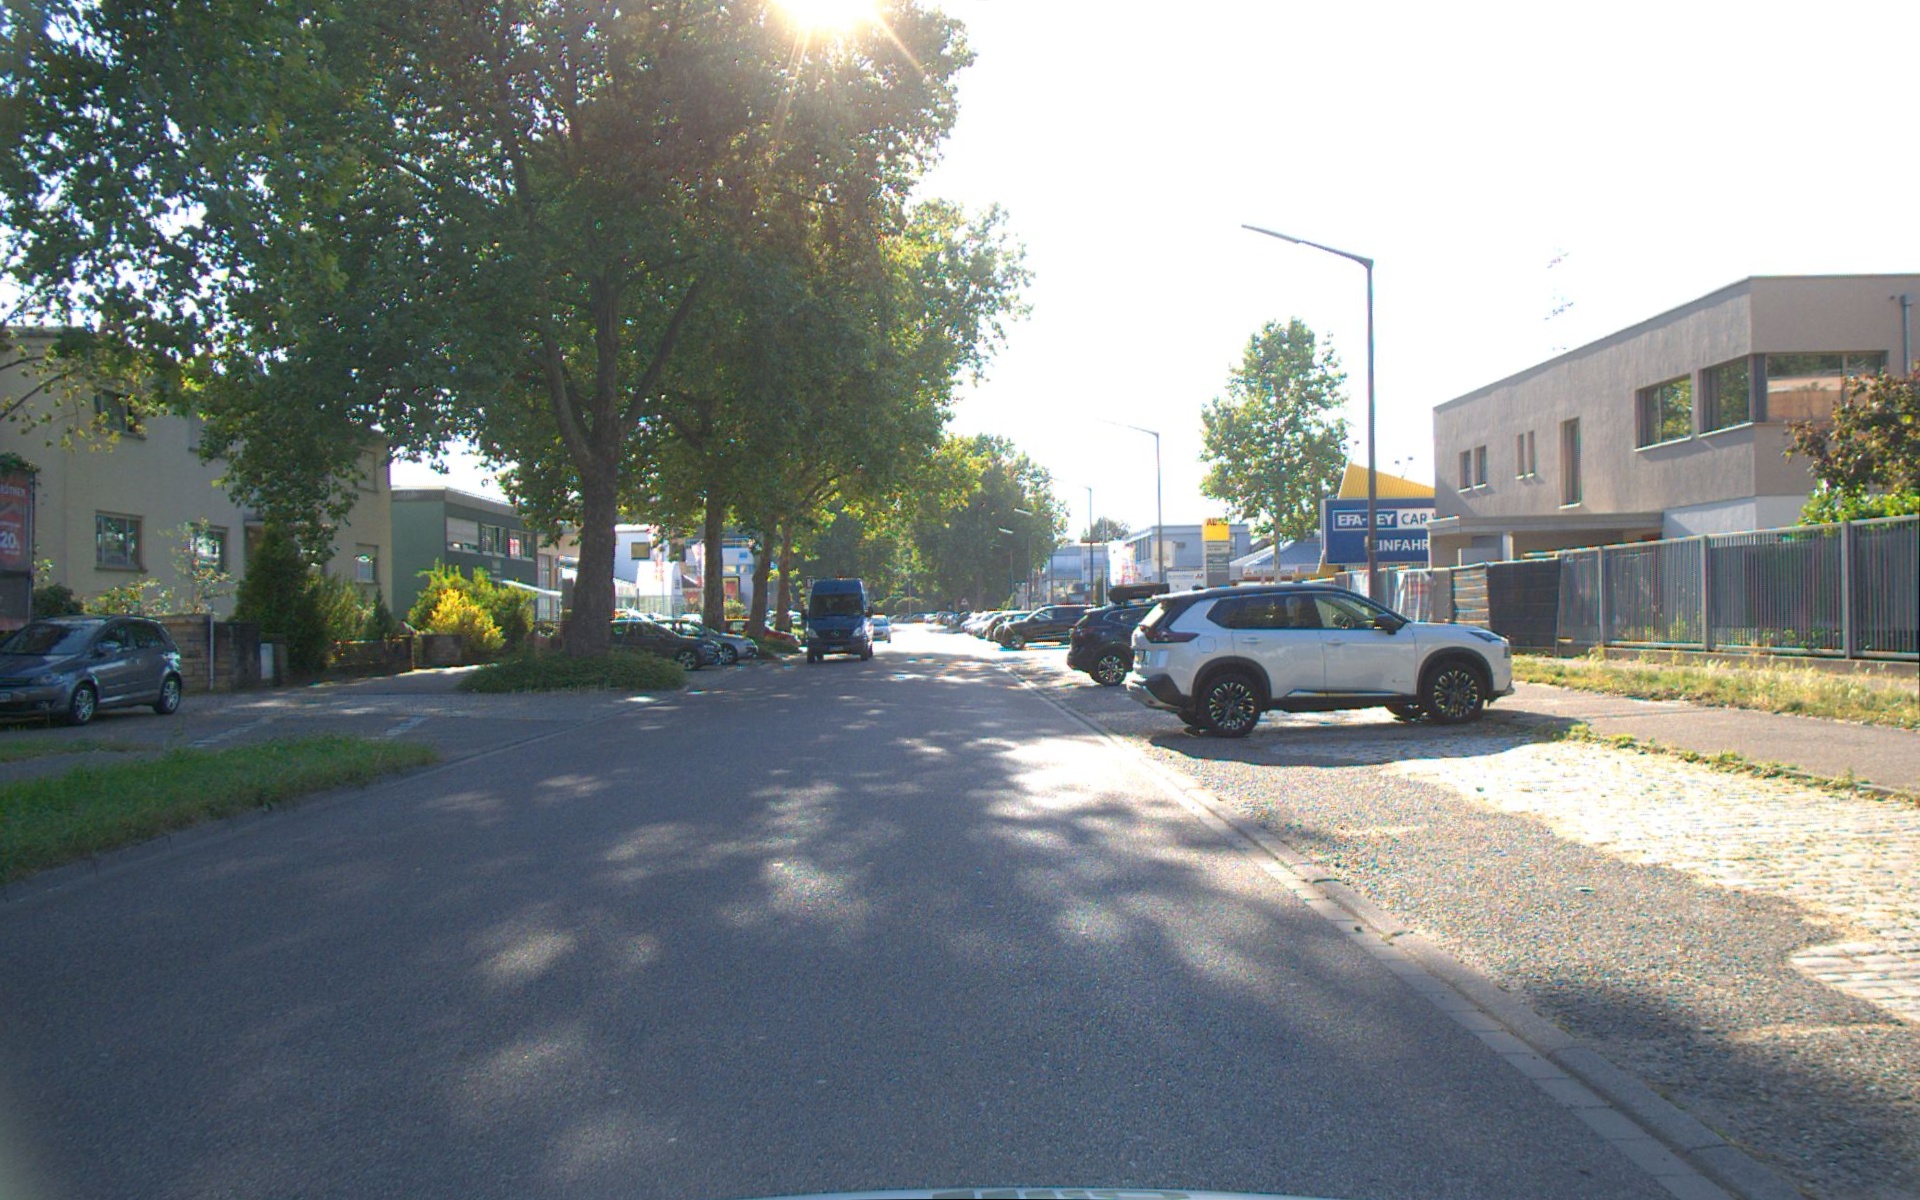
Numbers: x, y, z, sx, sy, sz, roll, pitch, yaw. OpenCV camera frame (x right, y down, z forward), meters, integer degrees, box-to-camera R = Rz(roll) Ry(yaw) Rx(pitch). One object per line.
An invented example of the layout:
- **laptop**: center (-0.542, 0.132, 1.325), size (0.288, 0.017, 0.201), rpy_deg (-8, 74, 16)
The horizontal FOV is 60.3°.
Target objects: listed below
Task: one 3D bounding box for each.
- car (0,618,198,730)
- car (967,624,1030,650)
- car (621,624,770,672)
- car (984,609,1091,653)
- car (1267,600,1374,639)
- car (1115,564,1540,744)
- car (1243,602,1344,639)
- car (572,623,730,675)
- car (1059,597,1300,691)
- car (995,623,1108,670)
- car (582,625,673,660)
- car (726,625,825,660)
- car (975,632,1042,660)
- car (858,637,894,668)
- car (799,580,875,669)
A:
- **car**: center (-13.870, 1.115, 25.773), size (1.952, 1.604, 4.272), rpy_deg (1, -2, 0)
- **car**: center (2.854, 2.809, 124.023), size (4.466, 1.625, 2.200), rpy_deg (-4, -2, -4)
- **car**: center (-8.527, 1.540, 53.602), size (4.507, 1.447, 1.999), rpy_deg (-1, -1, -2)
- **car**: center (3.428, 1.406, 73.754), size (4.509, 1.641, 1.999), rpy_deg (-4, -2, -2)
- **car**: center (14.761, 0.832, 67.814), size (3.909, 1.523, 1.997), rpy_deg (1, -2, -6)
- **car**: center (4.312, 0.643, 19.916), size (4.533, 1.741, 1.999), rpy_deg (-4, -2, -3)
- **car**: center (14.410, 0.898, 71.541), size (3.909, 1.546, 1.951), rpy_deg (1, -2, -6)
- **car**: center (-8.901, 1.402, 47.904), size (4.267, 1.447, 1.998), rpy_deg (0, -1, -4)
- **car**: center (4.419, 0.893, 33.782), size (4.533, 1.553, 1.999), rpy_deg (-4, -2, -3)
- **car**: center (3.743, 1.931, 68.306), size (4.507, 1.607, 2.000), rpy_deg (-4, -2, 1)
- **car**: center (-18.430, 2.374, 91.826), size (4.651, 1.851, 1.998), rpy_deg (1, -2, -3)
- **car**: center (-8.185, 1.893, 73.766), size (4.209, 1.472, 1.999), rpy_deg (1, -2, -2)
- **car**: center (3.016, 2.861, 102.813), size (3.909, 1.616, 1.865), rpy_deg (-2, -2, -5)
- **car**: center (-4.593, 2.866, 90.985), size (1.801, 1.598, 3.800), rpy_deg (-3, -2, -2)
- **car**: center (-3.972, 0.792, 54.421), size (2.084, 2.706, 6.999), rpy_deg (-1, -1, -1)
